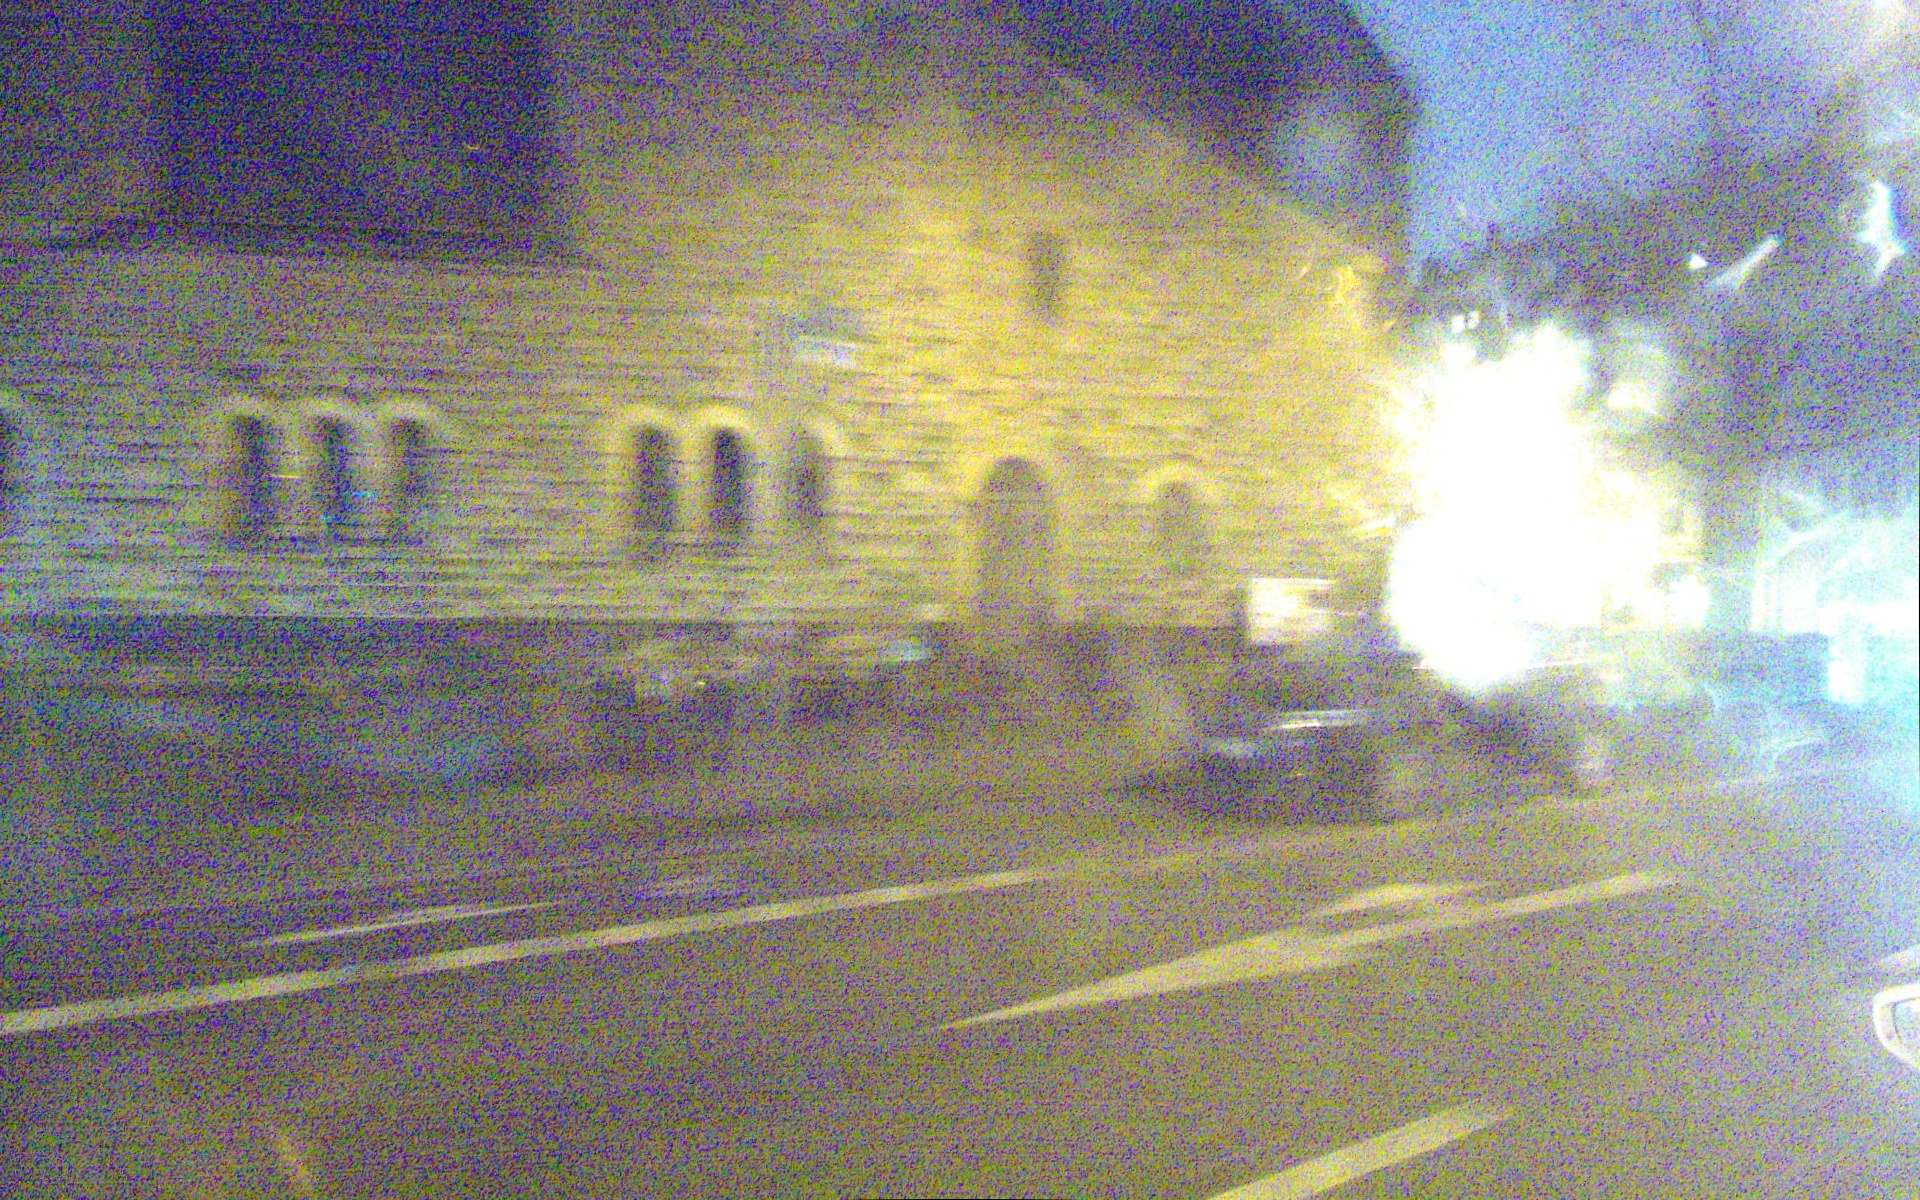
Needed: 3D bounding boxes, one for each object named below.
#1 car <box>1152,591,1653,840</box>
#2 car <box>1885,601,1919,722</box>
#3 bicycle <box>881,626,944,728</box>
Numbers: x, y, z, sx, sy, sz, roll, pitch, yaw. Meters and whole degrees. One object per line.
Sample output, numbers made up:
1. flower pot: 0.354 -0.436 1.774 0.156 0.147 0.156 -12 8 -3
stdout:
1. car: 3.933 0.826 8.736 4.360 1.692 1.803 1 -1 -31
2. car: 17.192 1.002 16.254 4.767 1.870 1.859 1 -1 -29
3. bicycle: -0.638 0.932 12.859 0.532 1.196 1.967 1 -1 -11
